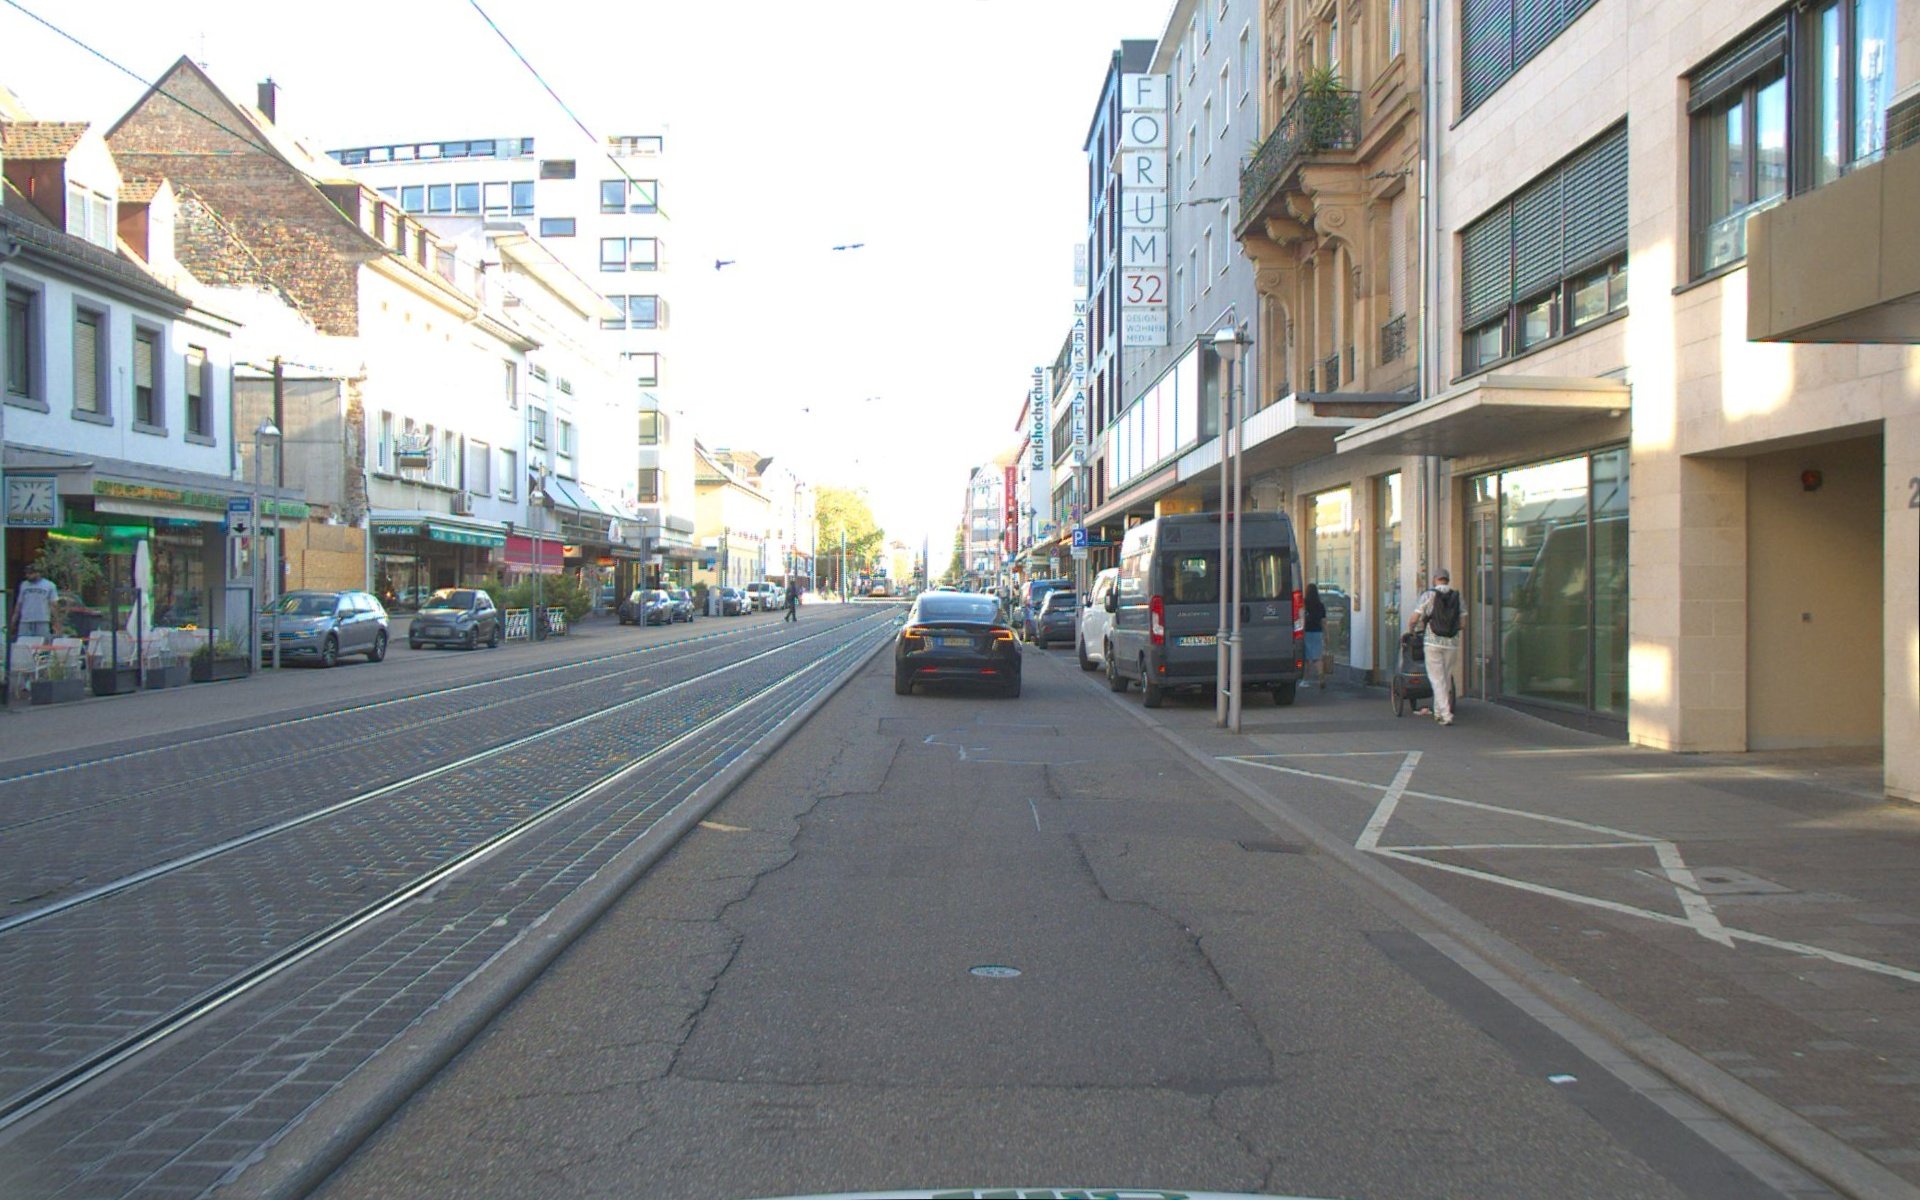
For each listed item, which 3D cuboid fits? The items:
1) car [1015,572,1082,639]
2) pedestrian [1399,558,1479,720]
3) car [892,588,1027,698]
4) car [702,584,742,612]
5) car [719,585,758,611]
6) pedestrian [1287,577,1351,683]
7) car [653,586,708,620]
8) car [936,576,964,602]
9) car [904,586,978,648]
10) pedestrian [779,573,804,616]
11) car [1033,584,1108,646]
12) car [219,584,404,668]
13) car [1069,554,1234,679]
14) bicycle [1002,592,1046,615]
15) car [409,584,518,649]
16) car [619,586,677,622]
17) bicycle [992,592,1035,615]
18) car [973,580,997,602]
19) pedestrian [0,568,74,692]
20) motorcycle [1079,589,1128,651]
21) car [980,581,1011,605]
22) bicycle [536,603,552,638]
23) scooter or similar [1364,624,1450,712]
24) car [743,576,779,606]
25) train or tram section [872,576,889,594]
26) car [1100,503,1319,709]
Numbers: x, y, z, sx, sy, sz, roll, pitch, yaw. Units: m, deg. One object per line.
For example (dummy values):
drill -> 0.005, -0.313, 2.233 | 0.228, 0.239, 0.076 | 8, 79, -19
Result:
car -> 2.641, 0.131, 49.927 | 1.784, 1.903, 3.753 | -1, 1, 0
pedestrian -> 5.337, 0.424, 18.471 | 0.545, 1.744, 0.954 | -2, 0, -2
car -> -0.009, 0.577, 24.716 | 1.831, 1.452, 4.364 | 0, 1, 0
car -> -13.656, -0.133, 95.036 | 1.682, 1.599, 3.850 | 0, 0, 1
car -> -13.517, -0.144, 100.980 | 1.733, 1.534, 3.972 | 0, 0, 1
pedestrian -> 5.473, 0.449, 25.249 | 0.753, 1.570, 0.804 | -2, 0, -1
car -> -13.133, 0.138, 77.803 | 1.732, 1.534, 3.862 | 0, 0, 3
car -> -0.721, -0.834, 123.035 | 2.042, 1.903, 3.753 | 0, 1, 0
car -> -0.500, 0.402, 40.918 | 1.726, 1.443, 4.353 | 0, 0, -2
pedestrian -> -7.348, -0.245, 72.299 | 0.757, 1.881, 0.827 | 0, 0, 29
car -> 2.888, 0.372, 43.793 | 1.715, 1.525, 3.753 | -1, 1, 0
car -> -13.103, 0.522, 33.757 | 1.953, 1.558, 4.755 | 1, -1, -1
car -> 3.353, 0.249, 29.961 | 2.116, 1.960, 4.614 | -3, 1, -3
bicycle -> 3.120, 0.150, 81.121 | 2.116, 1.116, 0.686 | 0, 0, -3
car -> -13.022, 0.399, 43.591 | 1.641, 1.573, 3.744 | 2, 1, 1
car -> -13.470, 0.150, 71.664 | 1.733, 1.534, 3.864 | 0, 0, 1
bicycle -> 2.652, 0.160, 82.001 | 2.116, 1.116, 0.686 | 0, 0, -3
car -> 2.105, -0.767, 139.311 | 1.953, 1.784, 3.999 | 0, 0, -1
pedestrian -> -13.802, 0.438, 24.622 | 0.868, 1.806, 0.688 | 0, 0, -2
motorcycle -> 3.312, 0.446, 38.353 | 0.797, 1.338, 2.632 | -4, 0, -1
car -> 2.375, -0.450, 110.816 | 1.953, 1.570, 3.999 | 0, 0, -1
bicycle -> -12.701, 0.616, 50.451 | 0.363, 1.019, 1.596 | 0, 0, -18
scooter or similar -> 5.229, 0.783, 19.406 | 0.581, 0.952, 1.298 | -2, 0, -2
car -> -13.712, -0.644, 114.356 | 1.968, 1.995, 4.724 | 0, 0, -1
train or tram section -> -12.215, -2.372, 255.658 | 1.952, 2.680, 6.804 | 0, 1, 3
car -> 3.354, 0.039, 23.404 | 2.127, 2.504, 5.361 | -2, 1, -1
